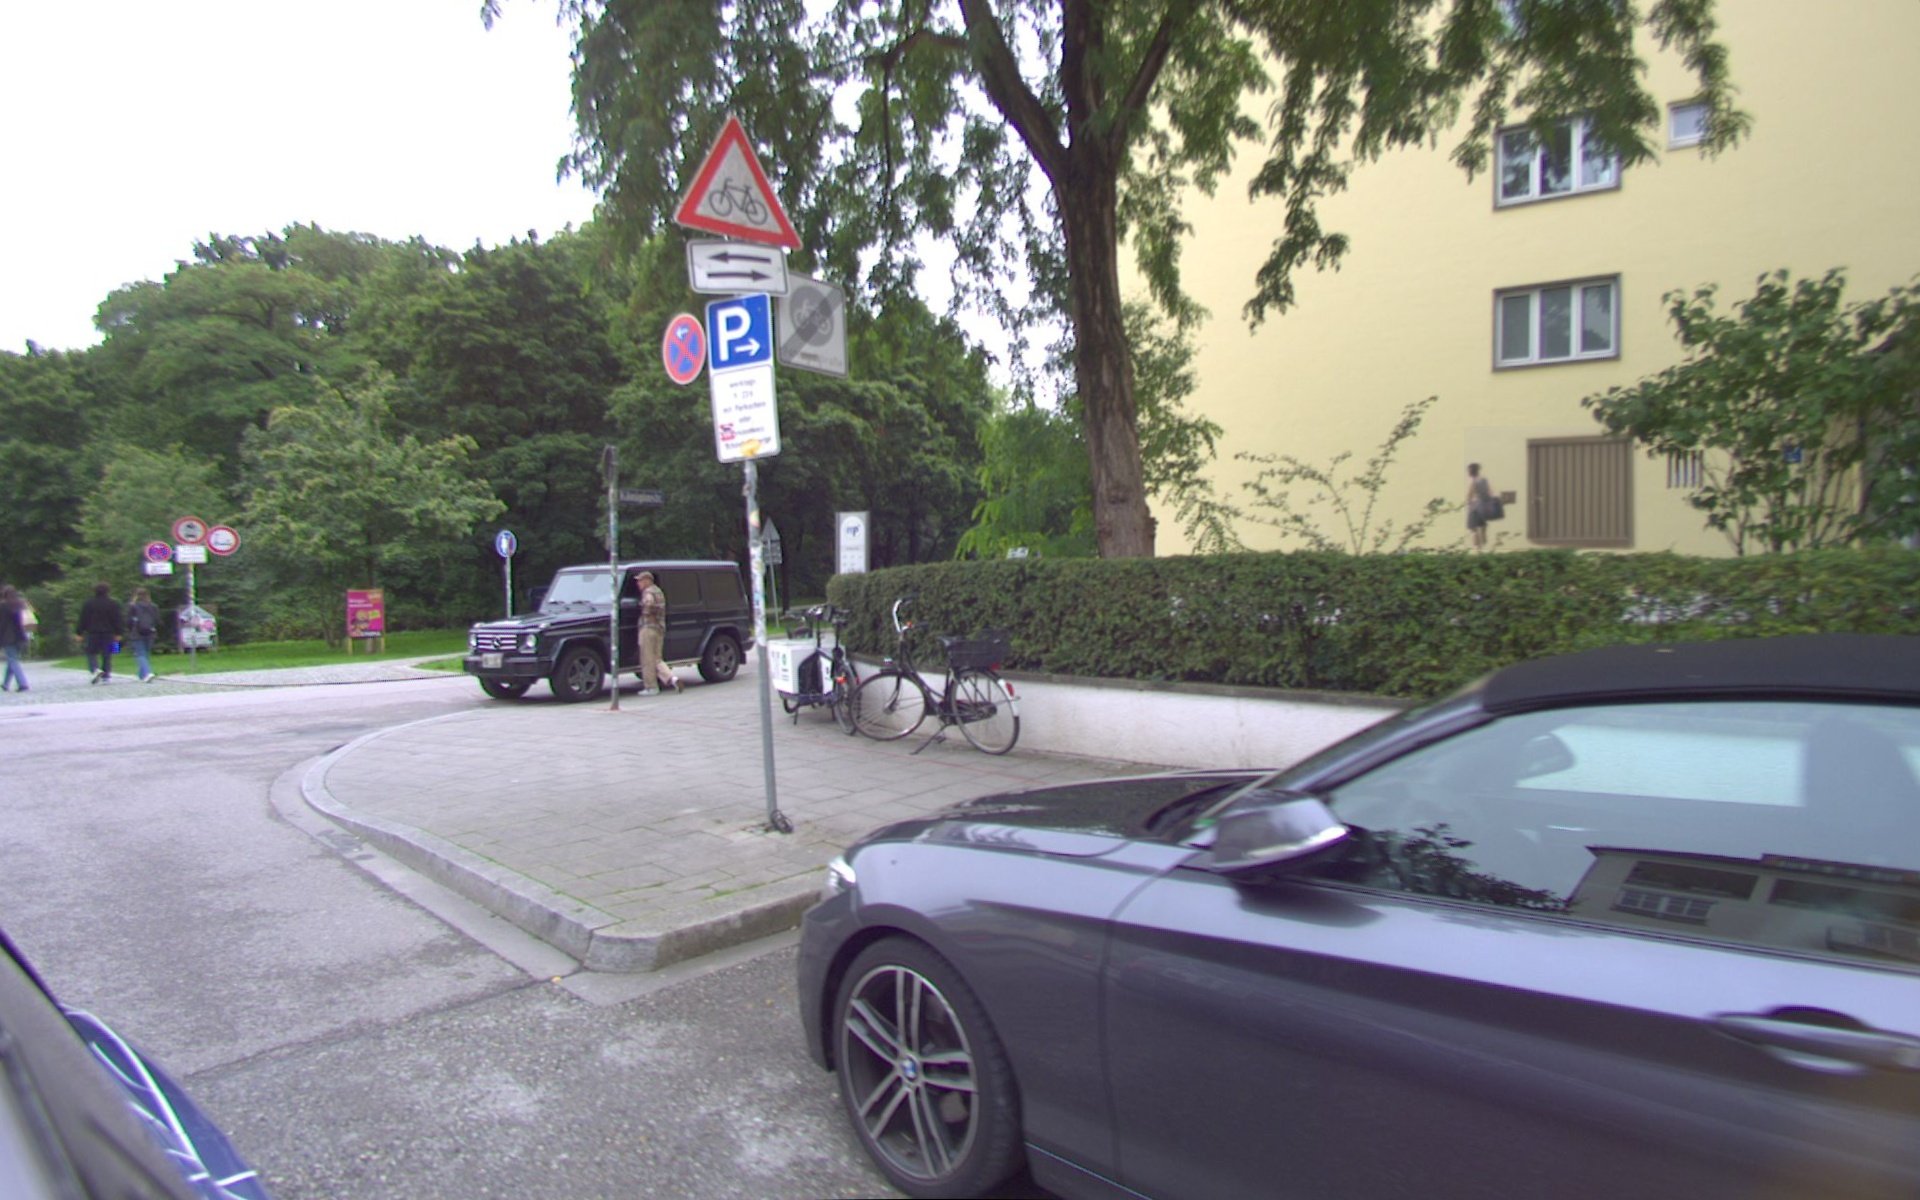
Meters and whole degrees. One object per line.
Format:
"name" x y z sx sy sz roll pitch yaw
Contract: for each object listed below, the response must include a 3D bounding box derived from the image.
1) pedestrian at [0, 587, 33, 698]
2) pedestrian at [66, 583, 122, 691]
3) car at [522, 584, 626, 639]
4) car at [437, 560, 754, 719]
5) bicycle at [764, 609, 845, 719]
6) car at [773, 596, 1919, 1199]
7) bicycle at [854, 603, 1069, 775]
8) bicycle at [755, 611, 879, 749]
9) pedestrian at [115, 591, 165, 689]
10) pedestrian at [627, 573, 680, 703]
"pedestrian" -16.340 0.727 17.229 1.115 1.847 0.741 -4 -3 43
"pedestrian" -15.840 0.679 18.517 0.804 1.918 0.698 -4 -3 43
"car" -16.133 0.440 42.493 3.901 2.120 1.911 -2 1 -16
"car" -5.271 0.466 15.287 1.927 2.016 4.379 1 1 28
"bicycle" -1.820 0.715 12.128 0.575 1.165 1.951 -3 0 1
"car" 1.580 0.717 1.937 4.098 1.421 1.726 -1 -2 43
"bicycle" -0.035 0.642 8.096 0.555 1.219 1.855 -2 1 -44
"bicycle" -1.460 0.705 9.927 0.573 1.134 2.305 -3 1 -23
"pedestrian" -15.420 0.747 19.034 0.801 1.795 0.626 -4 -3 43
"pedestrian" -4.403 0.534 14.523 0.551 1.812 0.642 -2 -2 -29
